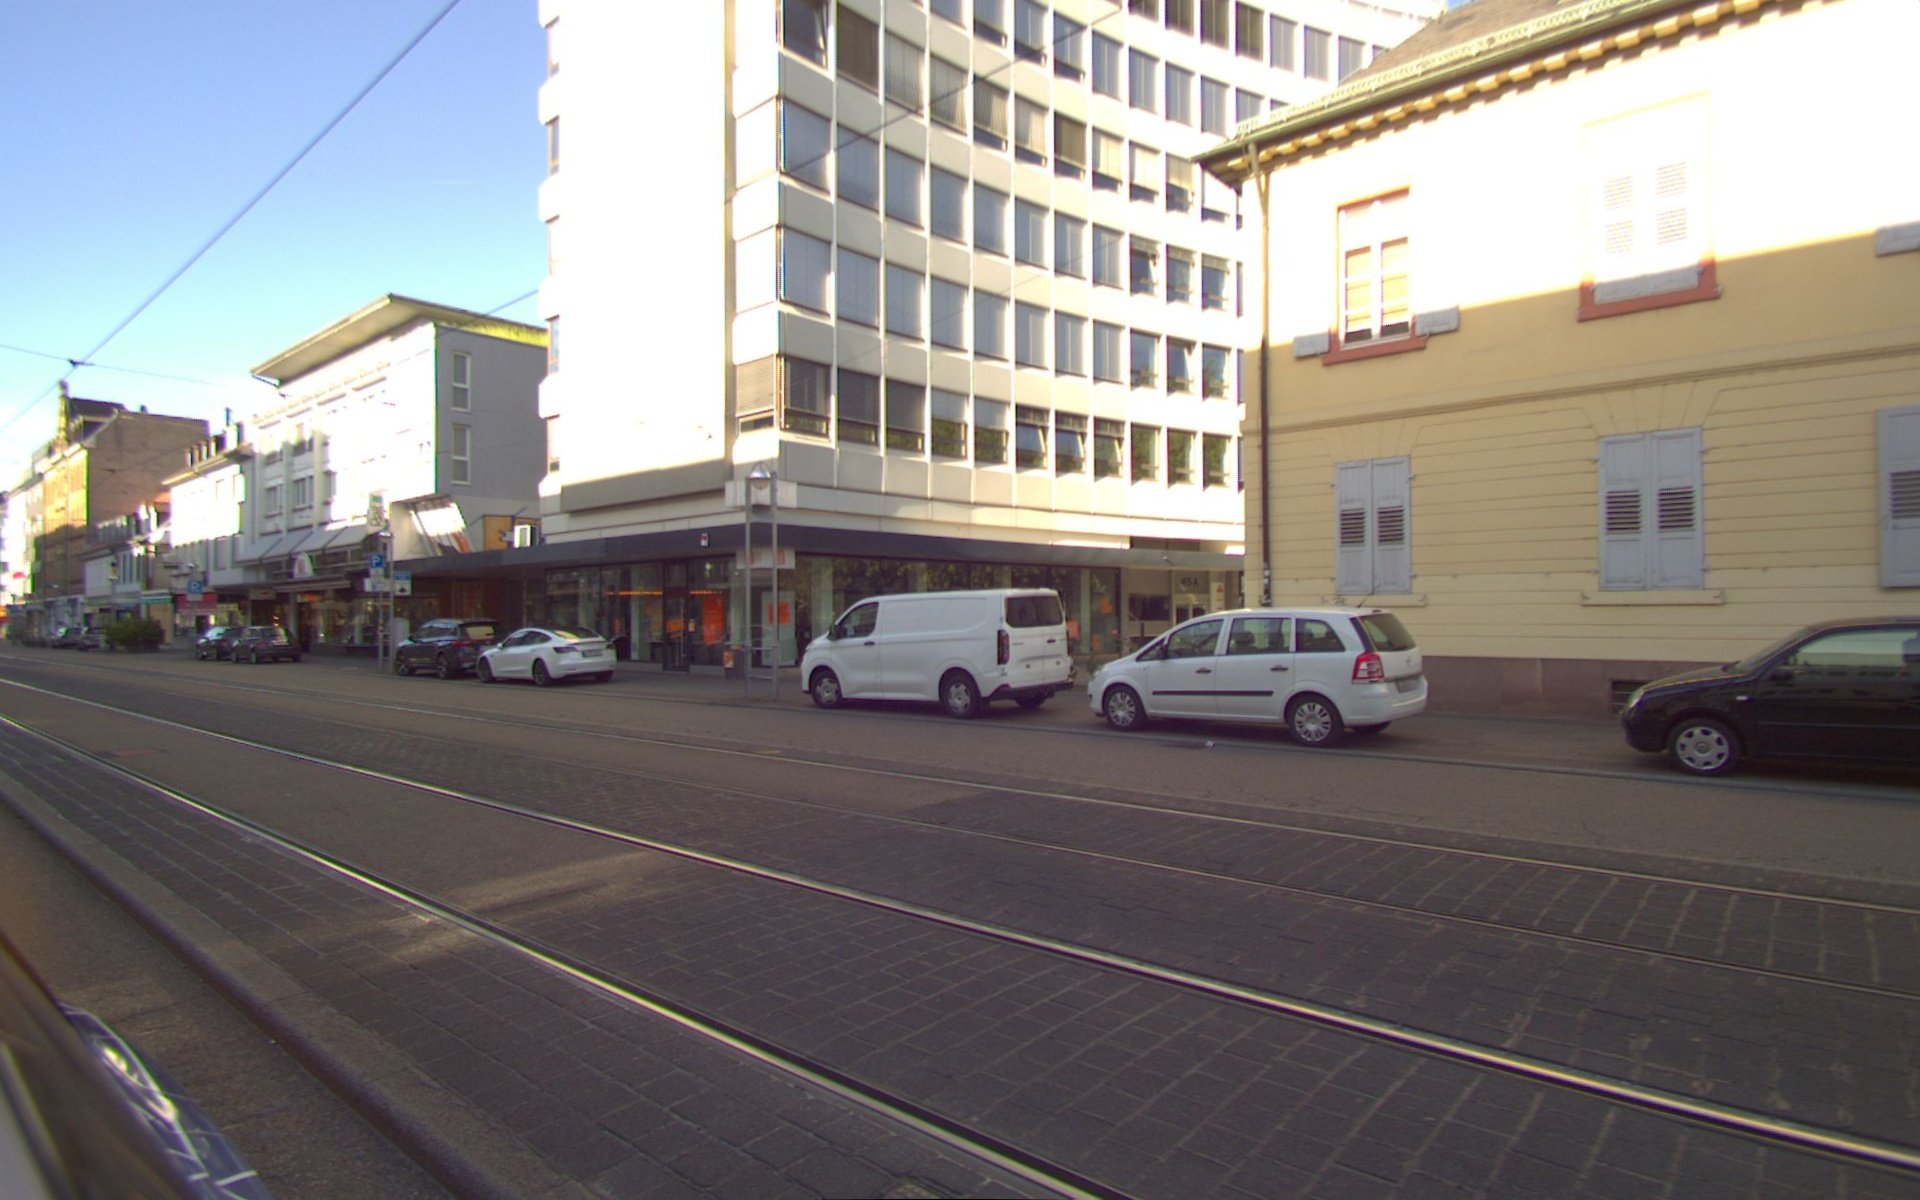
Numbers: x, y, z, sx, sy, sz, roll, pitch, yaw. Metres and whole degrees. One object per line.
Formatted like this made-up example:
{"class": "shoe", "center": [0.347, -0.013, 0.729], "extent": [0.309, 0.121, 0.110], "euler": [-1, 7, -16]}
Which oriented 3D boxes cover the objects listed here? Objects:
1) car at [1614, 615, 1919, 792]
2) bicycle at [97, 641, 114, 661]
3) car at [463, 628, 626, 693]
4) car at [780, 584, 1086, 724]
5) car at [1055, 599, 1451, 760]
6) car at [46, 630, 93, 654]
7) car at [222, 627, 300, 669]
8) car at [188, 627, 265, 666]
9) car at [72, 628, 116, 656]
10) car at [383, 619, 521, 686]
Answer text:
{"class": "car", "center": [8.248, 0.869, 9.170], "extent": [3.717, 1.411, 1.598], "euler": [-1, 1, 40]}
{"class": "bicycle", "center": [-49.305, 2.924, 58.392], "extent": [1.715, 1.098, 0.513], "euler": [-1, 1, 41]}
{"class": "car", "center": [-10.638, 1.472, 25.755], "extent": [4.652, 1.431, 1.869], "euler": [-1, 1, 40]}
{"class": "car", "center": [-0.592, 0.801, 16.973], "extent": [5.093, 1.990, 1.973], "euler": [-1, 1, 40]}
{"class": "car", "center": [3.651, 0.899, 13.234], "extent": [4.649, 1.698, 1.788], "euler": [-1, 1, 43]}
{"class": "car", "center": [-61.459, 2.859, 69.797], "extent": [4.760, 1.525, 1.798], "euler": [-1, -1, 41]}
{"class": "car", "center": [-28.243, 1.911, 40.881], "extent": [3.585, 1.535, 1.585], "euler": [-1, 1, 38]}
{"class": "car", "center": [-32.653, 2.024, 44.995], "extent": [4.850, 1.535, 1.719], "euler": [-1, 1, 41]}
{"class": "car", "center": [-54.391, 2.624, 63.573], "extent": [2.889, 1.616, 1.680], "euler": [-1, 0, 41]}
{"class": "car", "center": [-14.765, 1.456, 29.302], "extent": [4.653, 1.691, 1.958], "euler": [-1, 1, 41]}
